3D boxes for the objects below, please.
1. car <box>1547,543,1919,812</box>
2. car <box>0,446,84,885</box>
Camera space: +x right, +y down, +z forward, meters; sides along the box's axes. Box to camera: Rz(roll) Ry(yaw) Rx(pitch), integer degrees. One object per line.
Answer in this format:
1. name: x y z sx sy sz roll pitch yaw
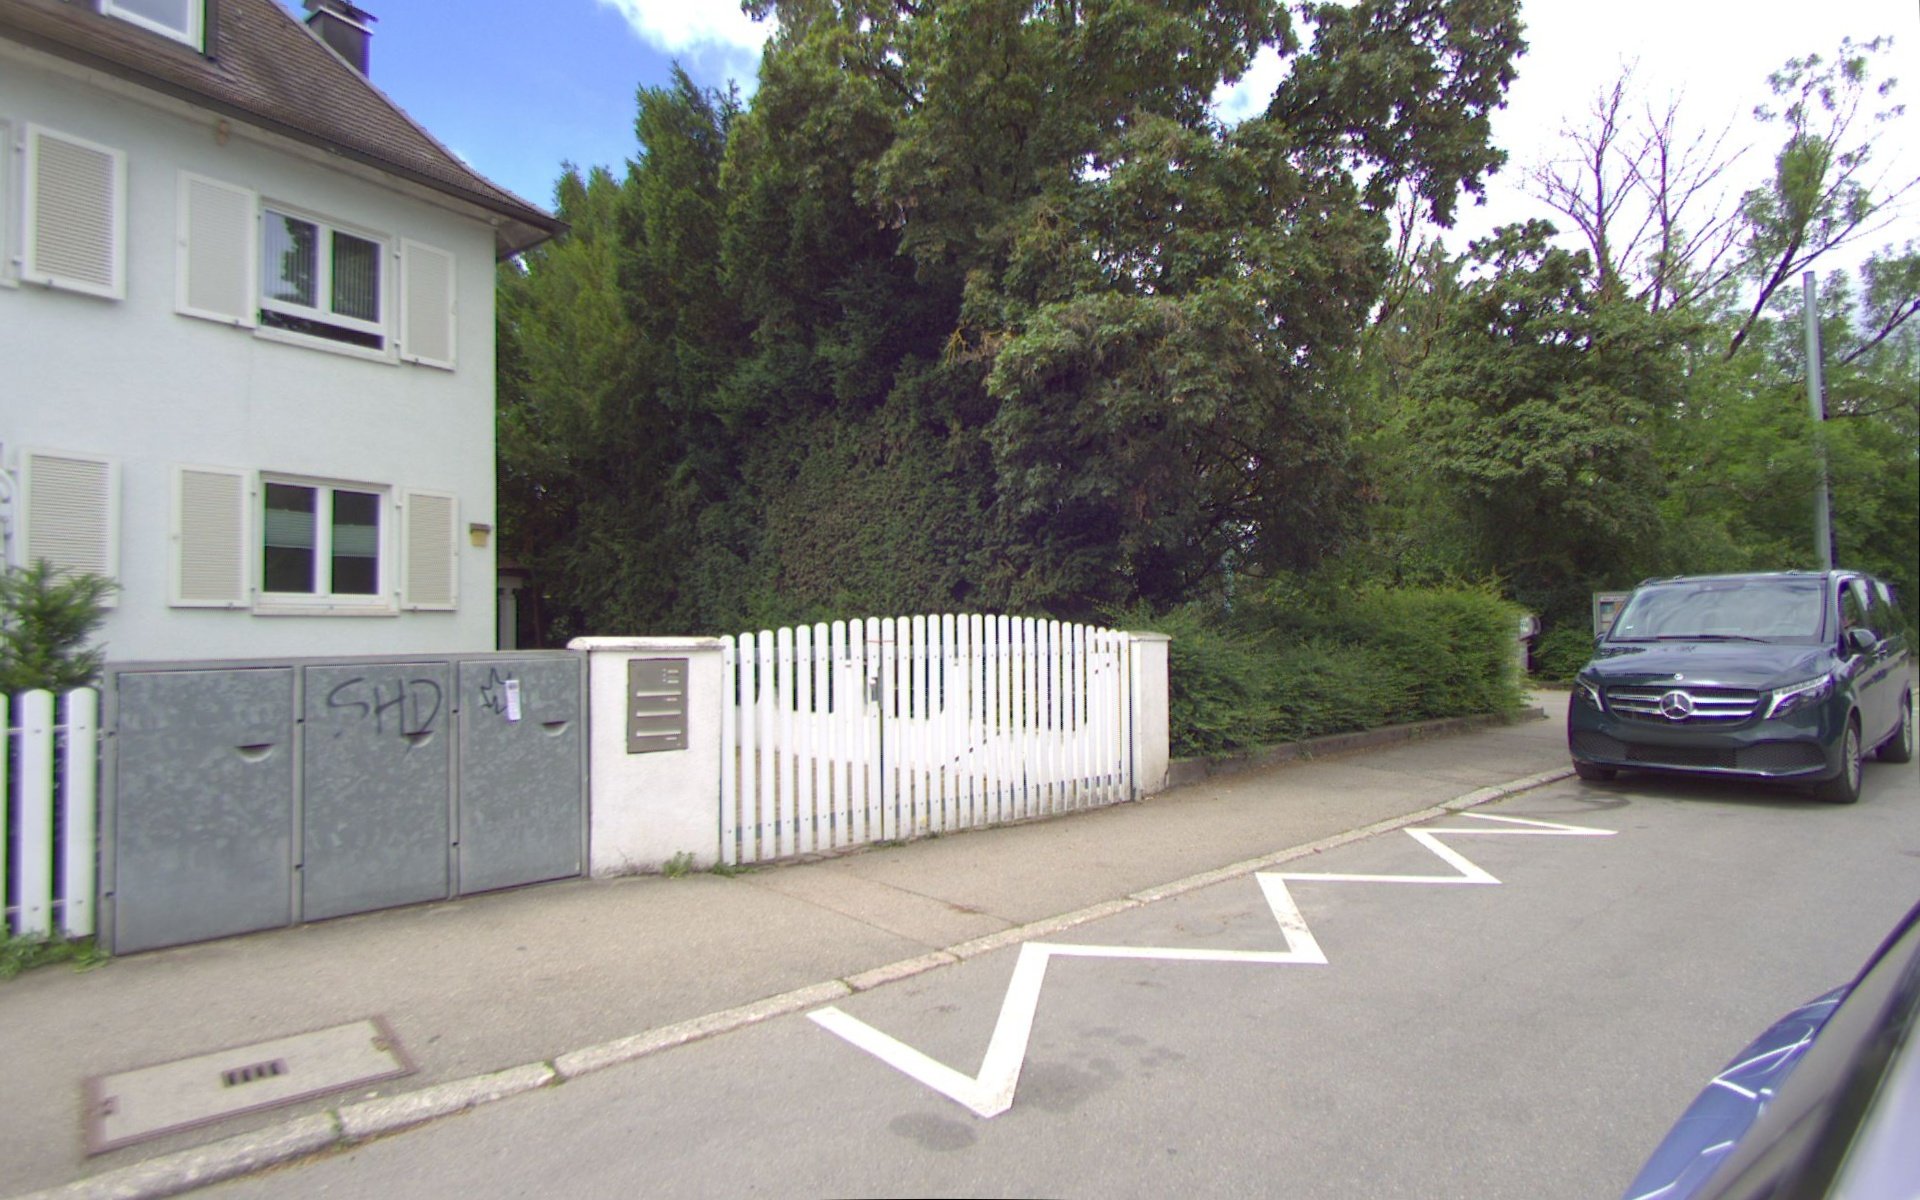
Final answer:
1. car: 7.516 0.555 9.417 5.066 1.872 1.912 0 -2 -40
2. car: -8.243 0.449 5.352 2.491 2.717 5.114 -4 -3 38
